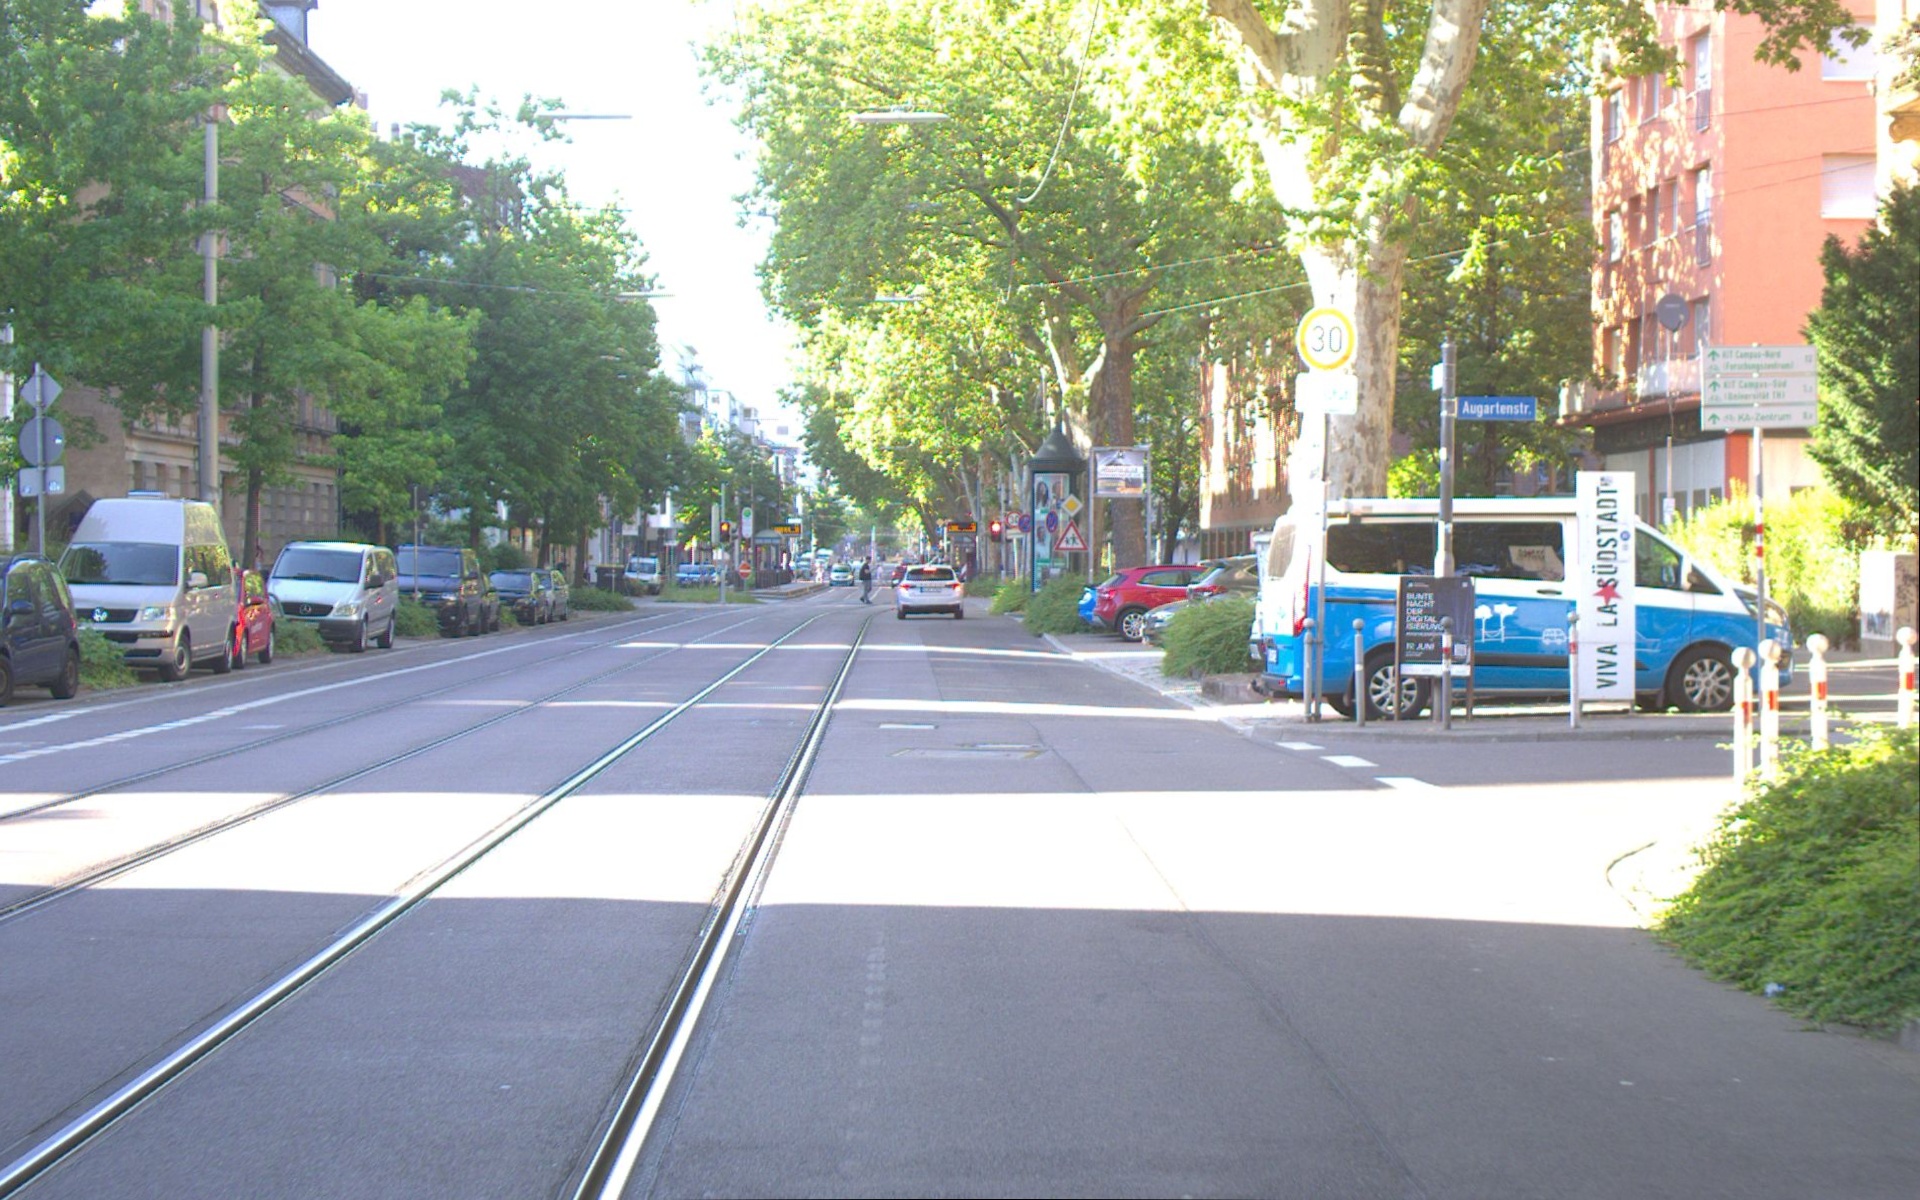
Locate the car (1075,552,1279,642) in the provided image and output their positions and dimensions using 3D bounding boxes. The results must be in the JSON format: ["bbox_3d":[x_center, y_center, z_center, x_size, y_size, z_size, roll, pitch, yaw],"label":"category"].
[{"bbox_3d":[4.361,-0.073,69.666,3.987,1.778,2.000,0,1,-1],"label":"car"}]

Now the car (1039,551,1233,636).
[{"bbox_3d":[3.703,-0.147,72.923,3.987,1.778,2.000,0,1,-1],"label":"car"}]

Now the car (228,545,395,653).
[{"bbox_3d":[-11.515,-0.045,61.333,2.173,1.854,4.659,0,1,-1],"label":"car"}]

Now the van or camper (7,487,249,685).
[{"bbox_3d":[-11.196,-0.207,46.655,2.079,2.524,5.318,0,1,-1],"label":"van or camper"}]

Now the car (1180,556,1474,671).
[{"bbox_3d":[5.222,0.178,49.313,3.987,1.603,2.000,0,1,-1],"label":"car"}]

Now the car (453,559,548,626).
[{"bbox_3d":[-12.220,-0.230,91.669,1.993,1.739,4.659,0,1,-1],"label":"car"}]

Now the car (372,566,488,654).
[{"bbox_3d":[-11.643,0.197,75.751,1.993,1.854,4.179,0,1,-1],"label":"car"}]

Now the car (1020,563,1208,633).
[{"bbox_3d":[3.347,-0.053,75.227,3.987,1.515,2.000,0,1,-1],"label":"car"}]

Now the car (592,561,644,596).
[{"bbox_3d":[-13.897,-0.876,139.909,1.918,1.414,3.721,0,1,-3],"label":"car"}]

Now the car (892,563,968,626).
[{"bbox_3d":[-0.813,-0.158,90.357,1.918,1.579,3.791,-1,1,-1],"label":"car"}]

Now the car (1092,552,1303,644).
[{"bbox_3d":[4.625,-0.051,67.385,3.987,1.778,2.000,0,1,-1],"label":"car"}]

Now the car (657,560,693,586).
[{"bbox_3d":[-16.050,-1.534,193.867,1.918,1.414,3.591,0,1,-3],"label":"car"}]

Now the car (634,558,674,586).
[{"bbox_3d":[-15.330,-1.417,172.252,1.918,1.414,3.591,0,1,-3],"label":"car"}]

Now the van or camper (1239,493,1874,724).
[{"bbox_3d":[5.595,0.036,32.722,5.554,2.006,2.245,-1,3,-5],"label":"van or camper"}]

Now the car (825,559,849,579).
[{"bbox_3d":[-8.828,-2.195,246.055,1.635,1.414,3.591,0,1,-3],"label":"car"}]

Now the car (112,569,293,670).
[{"bbox_3d":[-11.405,0.263,52.023,1.876,1.455,4.207,0,1,-1],"label":"car"}]

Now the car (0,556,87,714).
[{"bbox_3d":[-10.915,0.328,37.428,1.786,1.581,4.344,3,1,-2],"label":"car"}]
